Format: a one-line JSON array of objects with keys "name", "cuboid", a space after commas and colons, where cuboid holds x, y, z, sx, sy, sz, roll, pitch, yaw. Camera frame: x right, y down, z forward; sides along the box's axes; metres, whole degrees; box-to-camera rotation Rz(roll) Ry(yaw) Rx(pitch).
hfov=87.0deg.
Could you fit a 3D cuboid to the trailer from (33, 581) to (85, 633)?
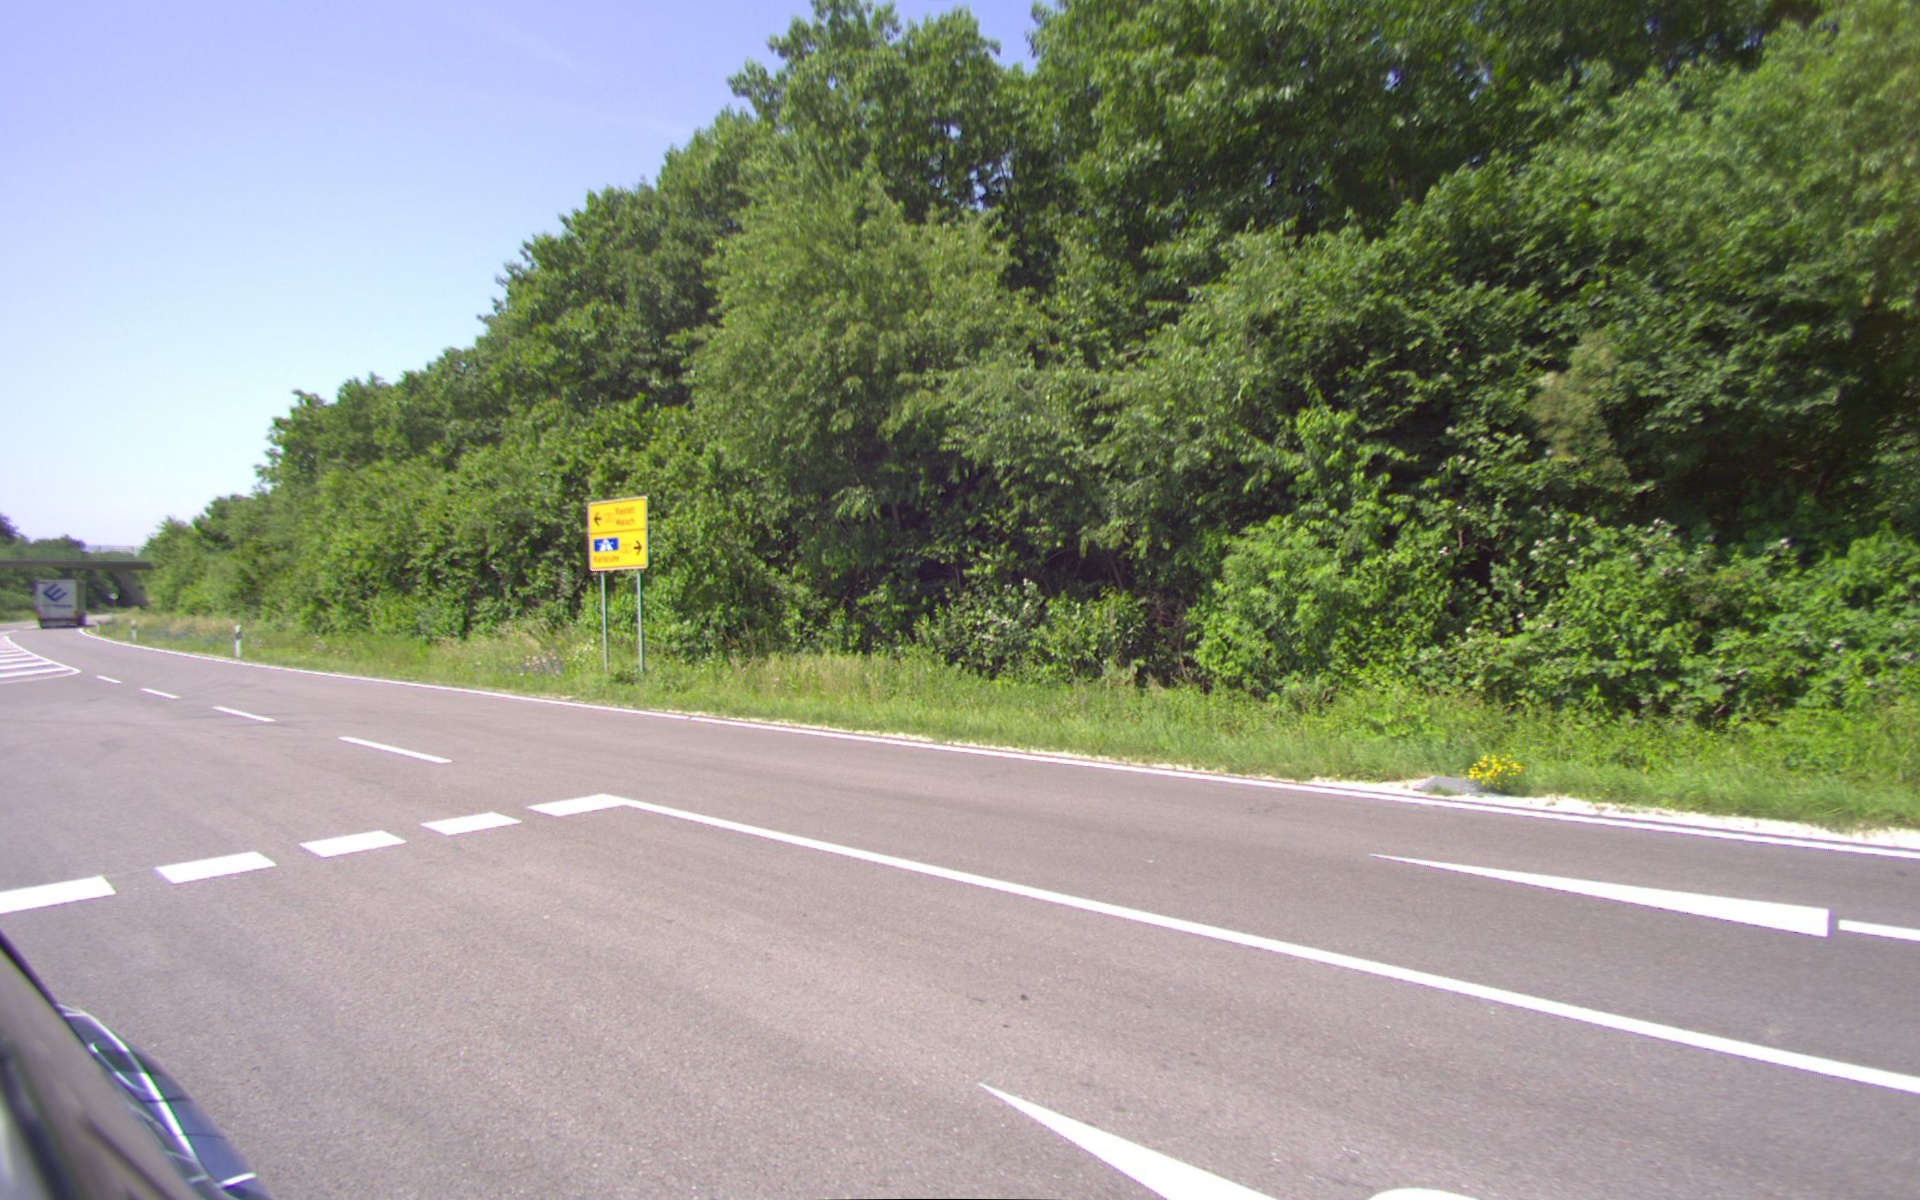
[{"name": "trailer", "cuboid": [-76.433, 0.588, 85.975, 2.792, 4.126, 9.018, -1, 0, -39]}]
